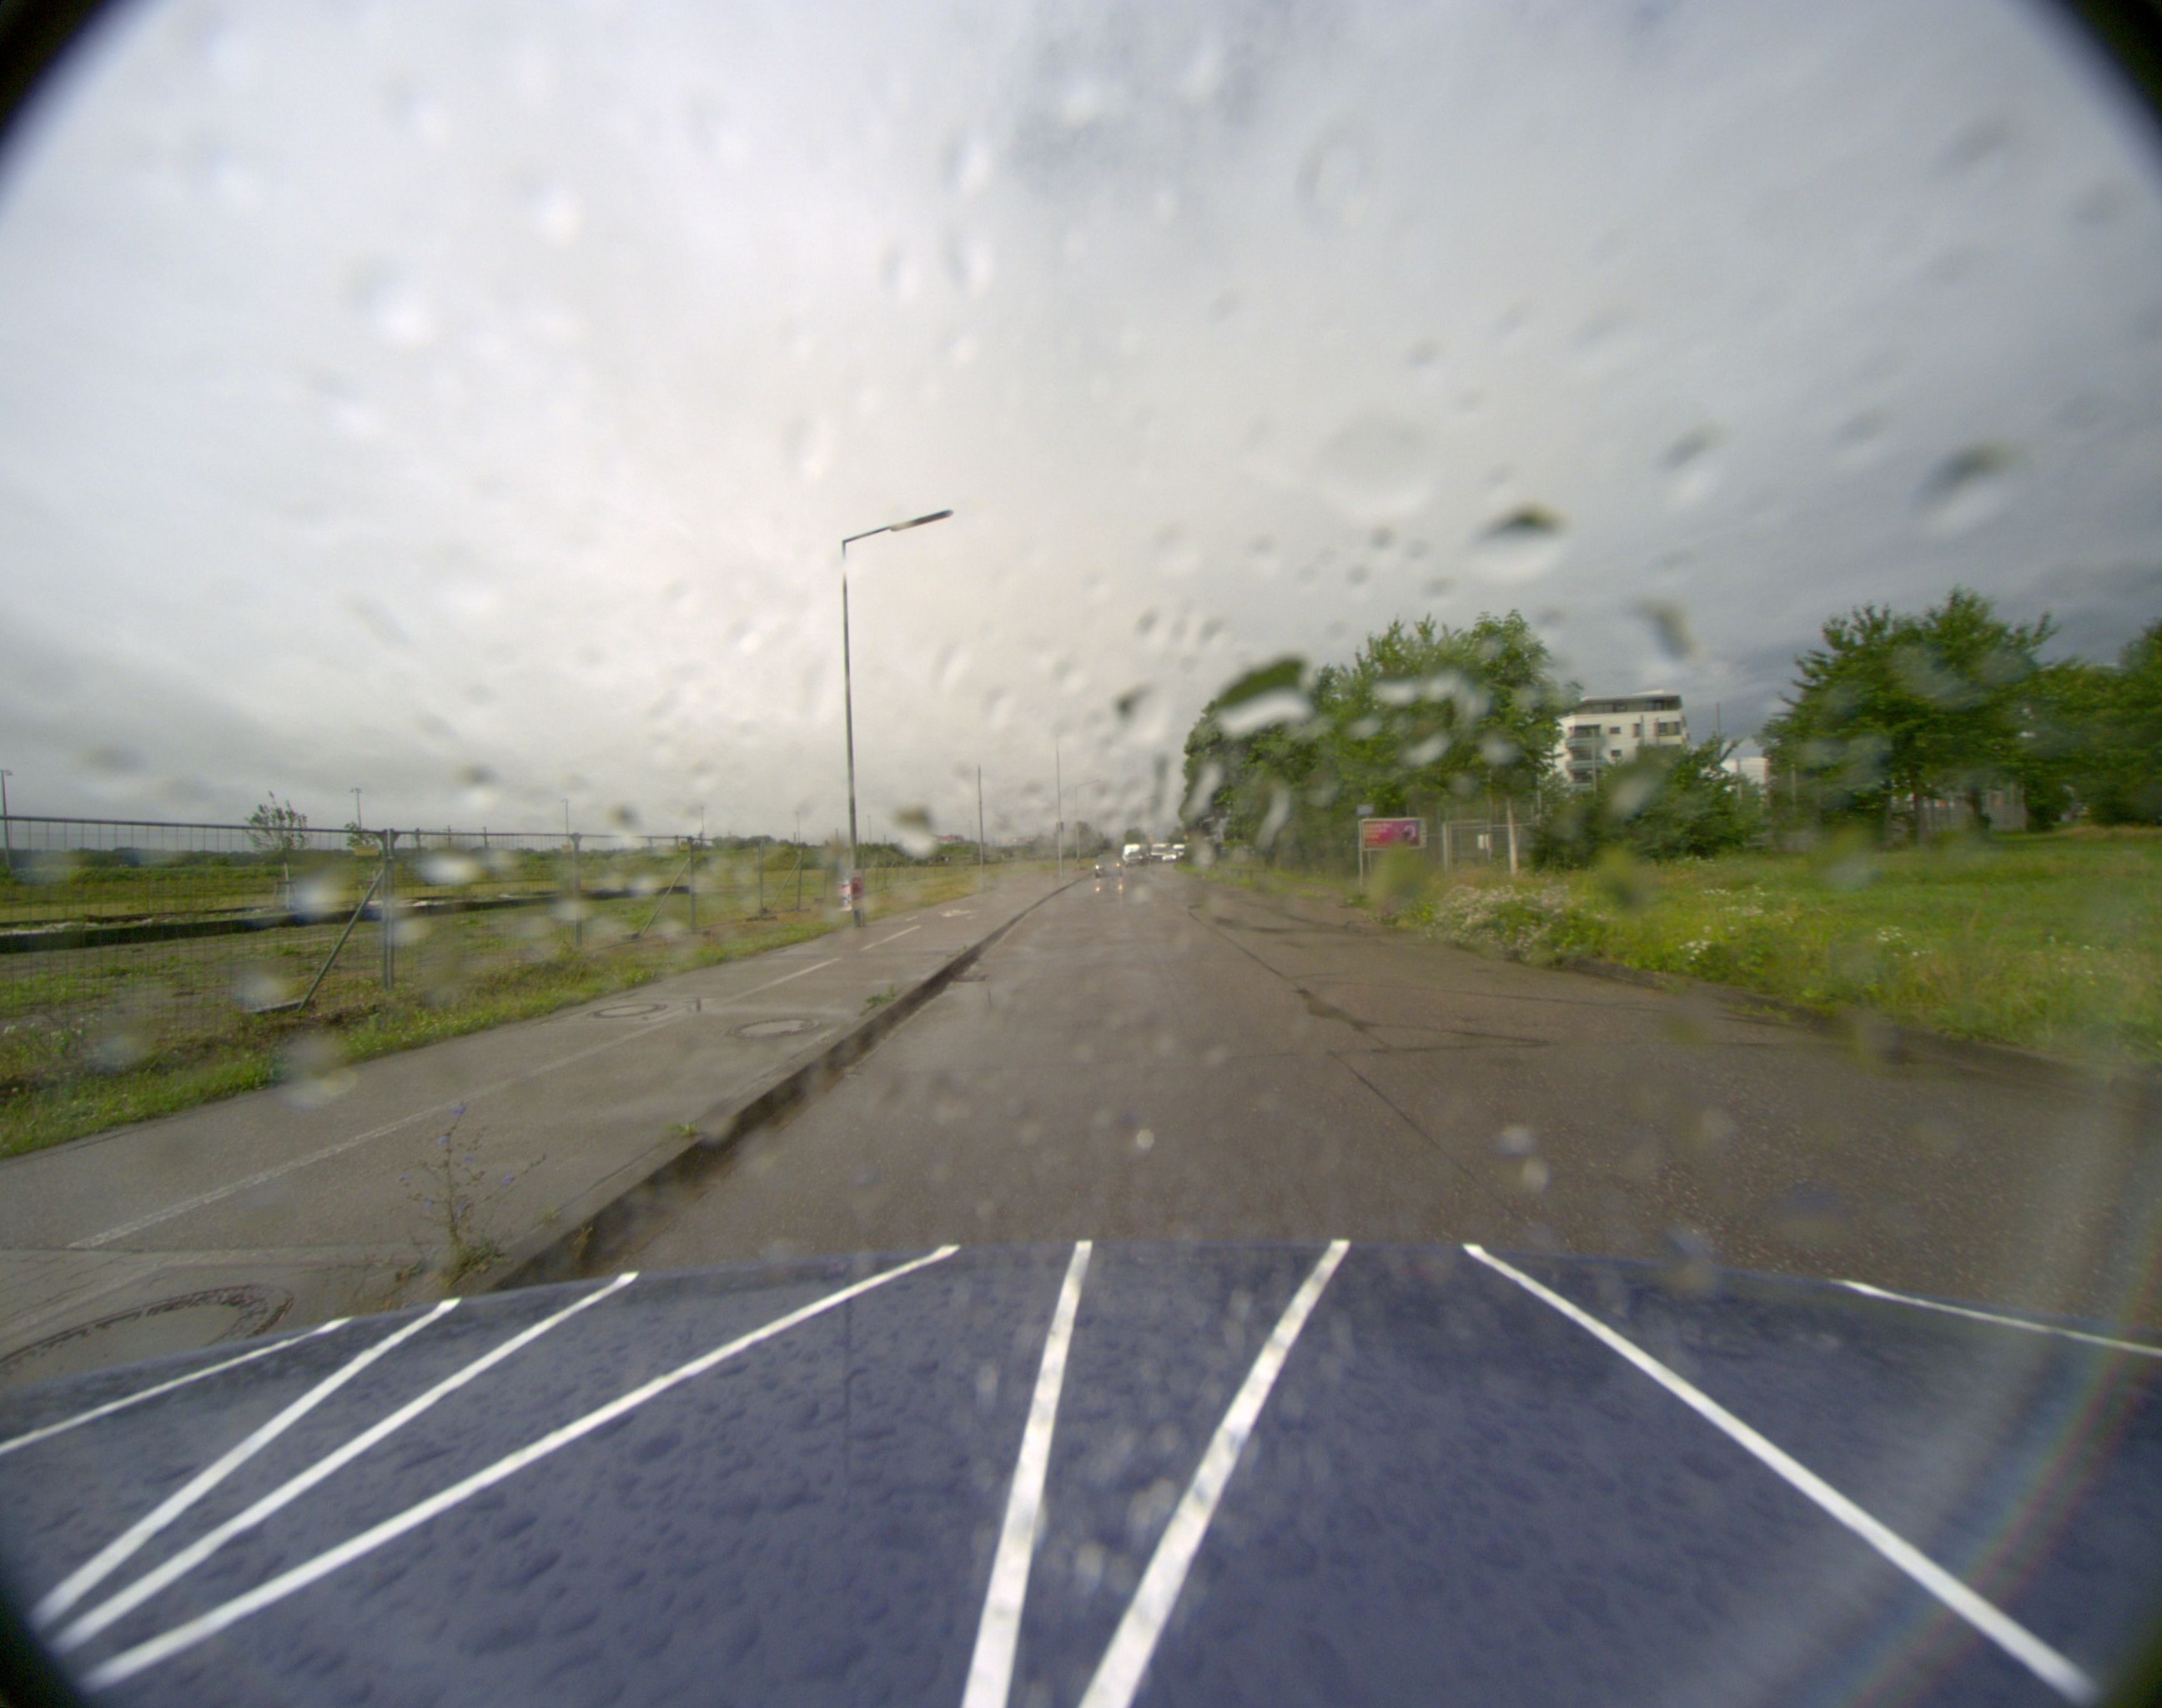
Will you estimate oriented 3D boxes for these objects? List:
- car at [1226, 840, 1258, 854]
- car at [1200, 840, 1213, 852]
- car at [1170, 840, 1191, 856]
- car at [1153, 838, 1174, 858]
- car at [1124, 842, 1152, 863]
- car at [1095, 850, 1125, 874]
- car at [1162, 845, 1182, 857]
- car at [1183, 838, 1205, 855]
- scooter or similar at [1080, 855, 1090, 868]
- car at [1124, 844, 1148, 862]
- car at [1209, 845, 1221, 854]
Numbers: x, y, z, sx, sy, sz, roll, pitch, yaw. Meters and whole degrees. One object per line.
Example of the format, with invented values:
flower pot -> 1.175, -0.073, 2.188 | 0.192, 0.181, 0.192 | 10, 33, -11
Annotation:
car -> 22.488, -1.019, 106.089 | 4.178, 1.540, 1.862 | -5, 0, 17
car -> 25.155, -1.641, 152.075 | 1.996, 2.228, 4.569 | -2, 0, 18
car -> 16.410, -0.941, 125.065 | 2.071, 2.514, 6.666 | -1, 1, 19
car -> 11.921, -0.907, 109.277 | 2.147, 2.867, 5.281 | 0, 2, 16
car -> 7.063, -0.194, 93.927 | 2.094, 2.459, 5.954 | -1, 1, 17
car -> 1.982, 0.526, 51.262 | 1.873, 1.510, 4.358 | -1, 0, 3
car -> 12.079, -0.416, 100.244 | 1.839, 1.510, 4.362 | -2, 1, 17
car -> 20.139, -1.414, 135.306 | 2.473, 2.939, 6.895 | -1, 1, 20
scooter or similar -> 0.399, 0.773, 76.277 | 0.491, 1.208, 1.342 | -2, 1, 26
car -> 5.628, -0.117, 77.793 | 2.009, 1.695, 4.331 | -5, 0, 9
car -> 24.544, -0.913, 139.143 | 1.839, 1.510, 4.361 | -2, 1, 15
